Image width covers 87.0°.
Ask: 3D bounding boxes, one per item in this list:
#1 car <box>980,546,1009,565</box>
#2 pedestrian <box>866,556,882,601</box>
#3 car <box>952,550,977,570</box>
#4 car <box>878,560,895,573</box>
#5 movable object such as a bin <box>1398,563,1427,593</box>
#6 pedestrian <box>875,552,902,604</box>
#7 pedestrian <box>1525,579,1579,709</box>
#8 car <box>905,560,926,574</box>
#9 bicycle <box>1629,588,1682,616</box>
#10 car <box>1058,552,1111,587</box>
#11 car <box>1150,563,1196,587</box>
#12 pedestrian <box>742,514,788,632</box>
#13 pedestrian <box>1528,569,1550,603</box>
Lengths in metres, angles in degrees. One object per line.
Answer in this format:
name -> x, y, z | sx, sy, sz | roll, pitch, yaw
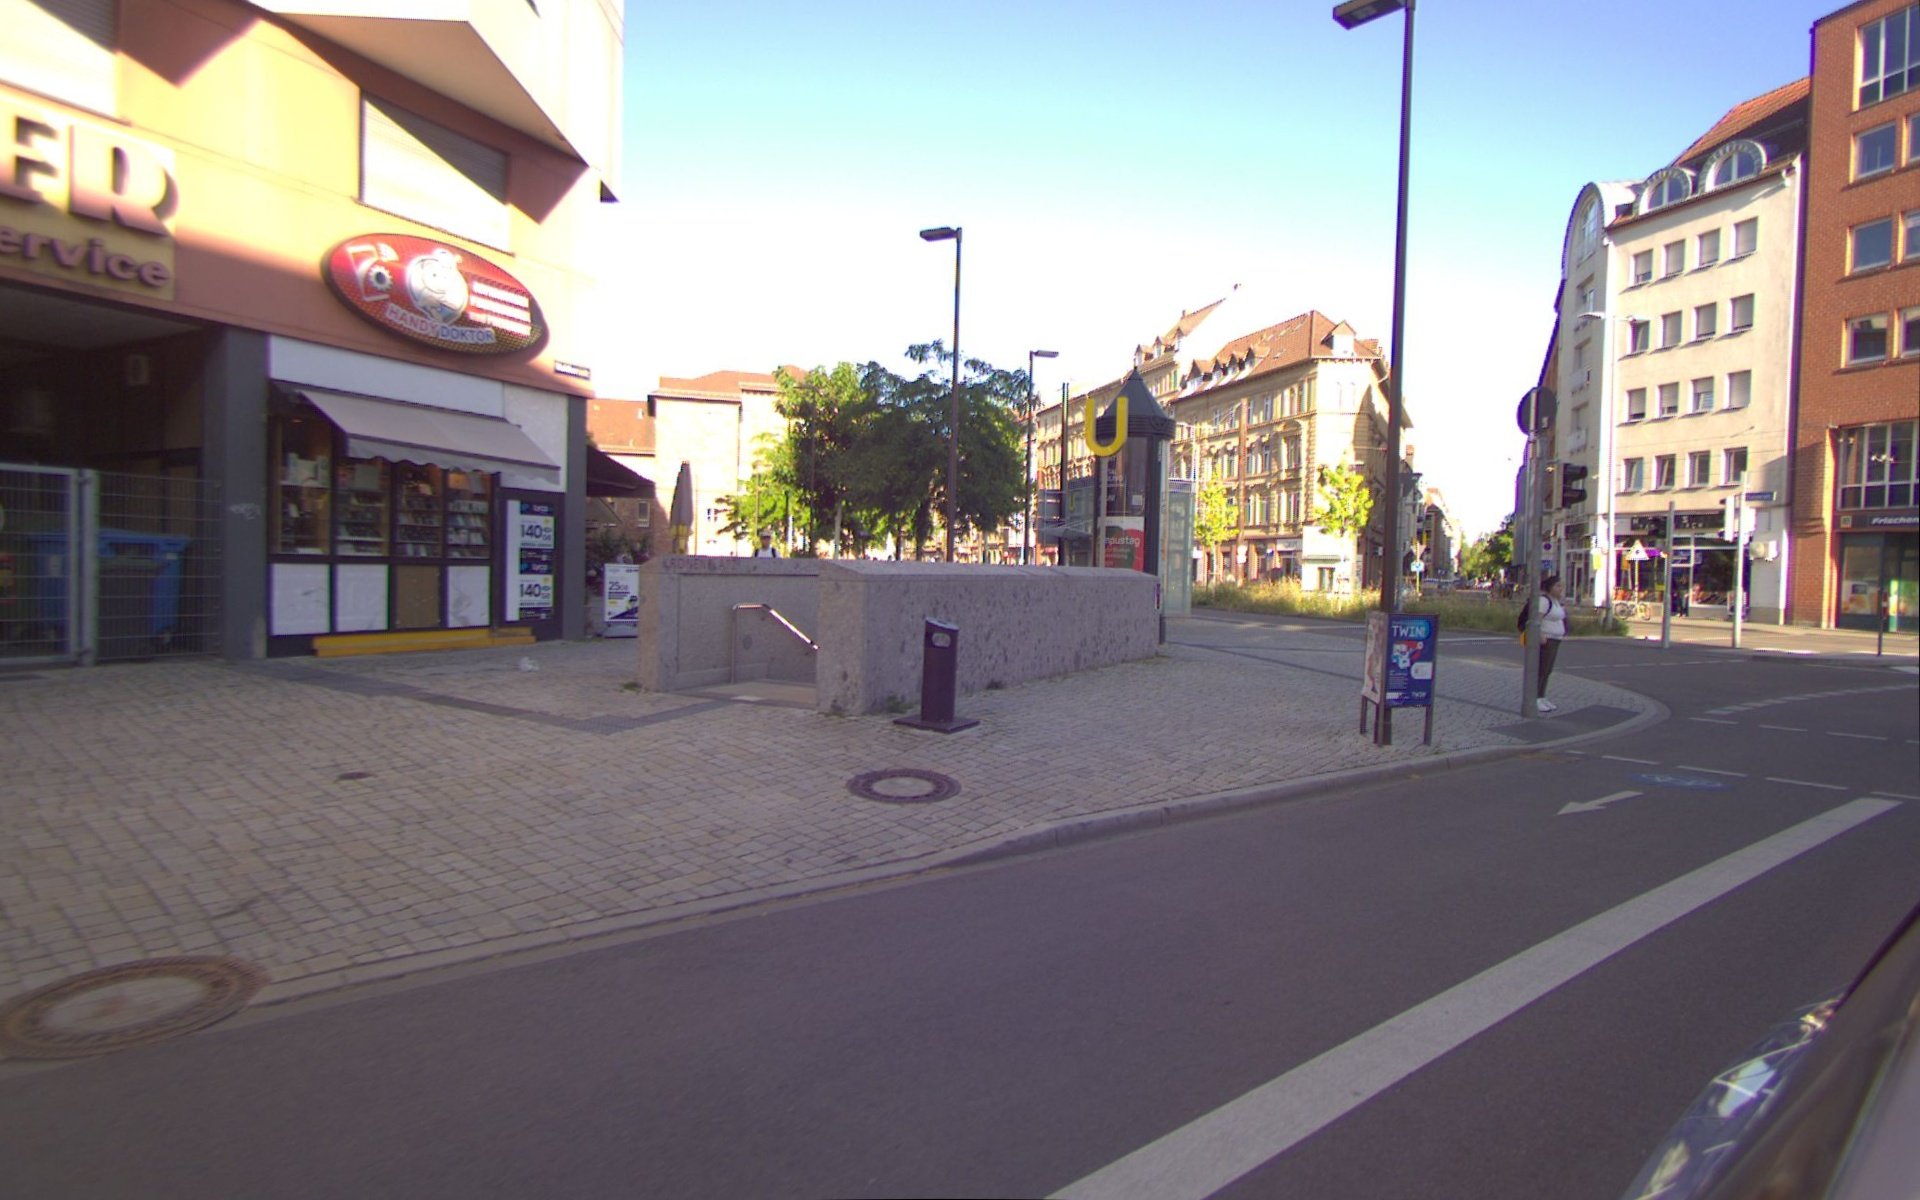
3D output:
car -> 3.966, -5.138, 117.002 | 2.188, 2.039, 4.352 | 0, 1, -14
pedestrian -> -3.234, -0.824, 38.202 | 0.496, 1.691, 0.477 | 1, 2, -14
car -> 0.505, -5.103, 128.616 | 2.188, 2.413, 4.352 | 0, 1, -14
car -> -12.274, -5.570, 168.574 | 2.188, 2.039, 4.352 | 0, 1, -14
movable object such as a bin -> 27.625, -1.320, 61.820 | 1.632, 1.806, 1.390 | 0, 0, 25
pedestrian -> -2.457, -0.769, 34.734 | 0.703, 1.767, 0.684 | 0, 2, -27
pedestrian -> 7.552, 0.535, 12.930 | 0.536, 1.603, 0.551 | 2, 2, 30
car -> -6.633, -4.907, 150.939 | 2.188, 2.039, 4.352 | 0, 1, -14
bicycle -> 27.930, 0.069, 40.685 | 0.450, 1.003, 1.870 | -2, 2, -17
car -> 11.161, -2.817, 91.142 | 2.233, 3.059, 5.376 | -1, 3, -26
car -> 15.614, -1.855, 74.299 | 1.692, 1.630, 3.939 | -1, 3, -16
pedestrian -> -3.274, -0.454, 16.922 | 0.673, 1.889, 1.047 | 1, 2, -14
pedestrian -> 29.714, -0.730, 51.923 | 0.683, 1.657, 0.958 | 1, 3, 14
